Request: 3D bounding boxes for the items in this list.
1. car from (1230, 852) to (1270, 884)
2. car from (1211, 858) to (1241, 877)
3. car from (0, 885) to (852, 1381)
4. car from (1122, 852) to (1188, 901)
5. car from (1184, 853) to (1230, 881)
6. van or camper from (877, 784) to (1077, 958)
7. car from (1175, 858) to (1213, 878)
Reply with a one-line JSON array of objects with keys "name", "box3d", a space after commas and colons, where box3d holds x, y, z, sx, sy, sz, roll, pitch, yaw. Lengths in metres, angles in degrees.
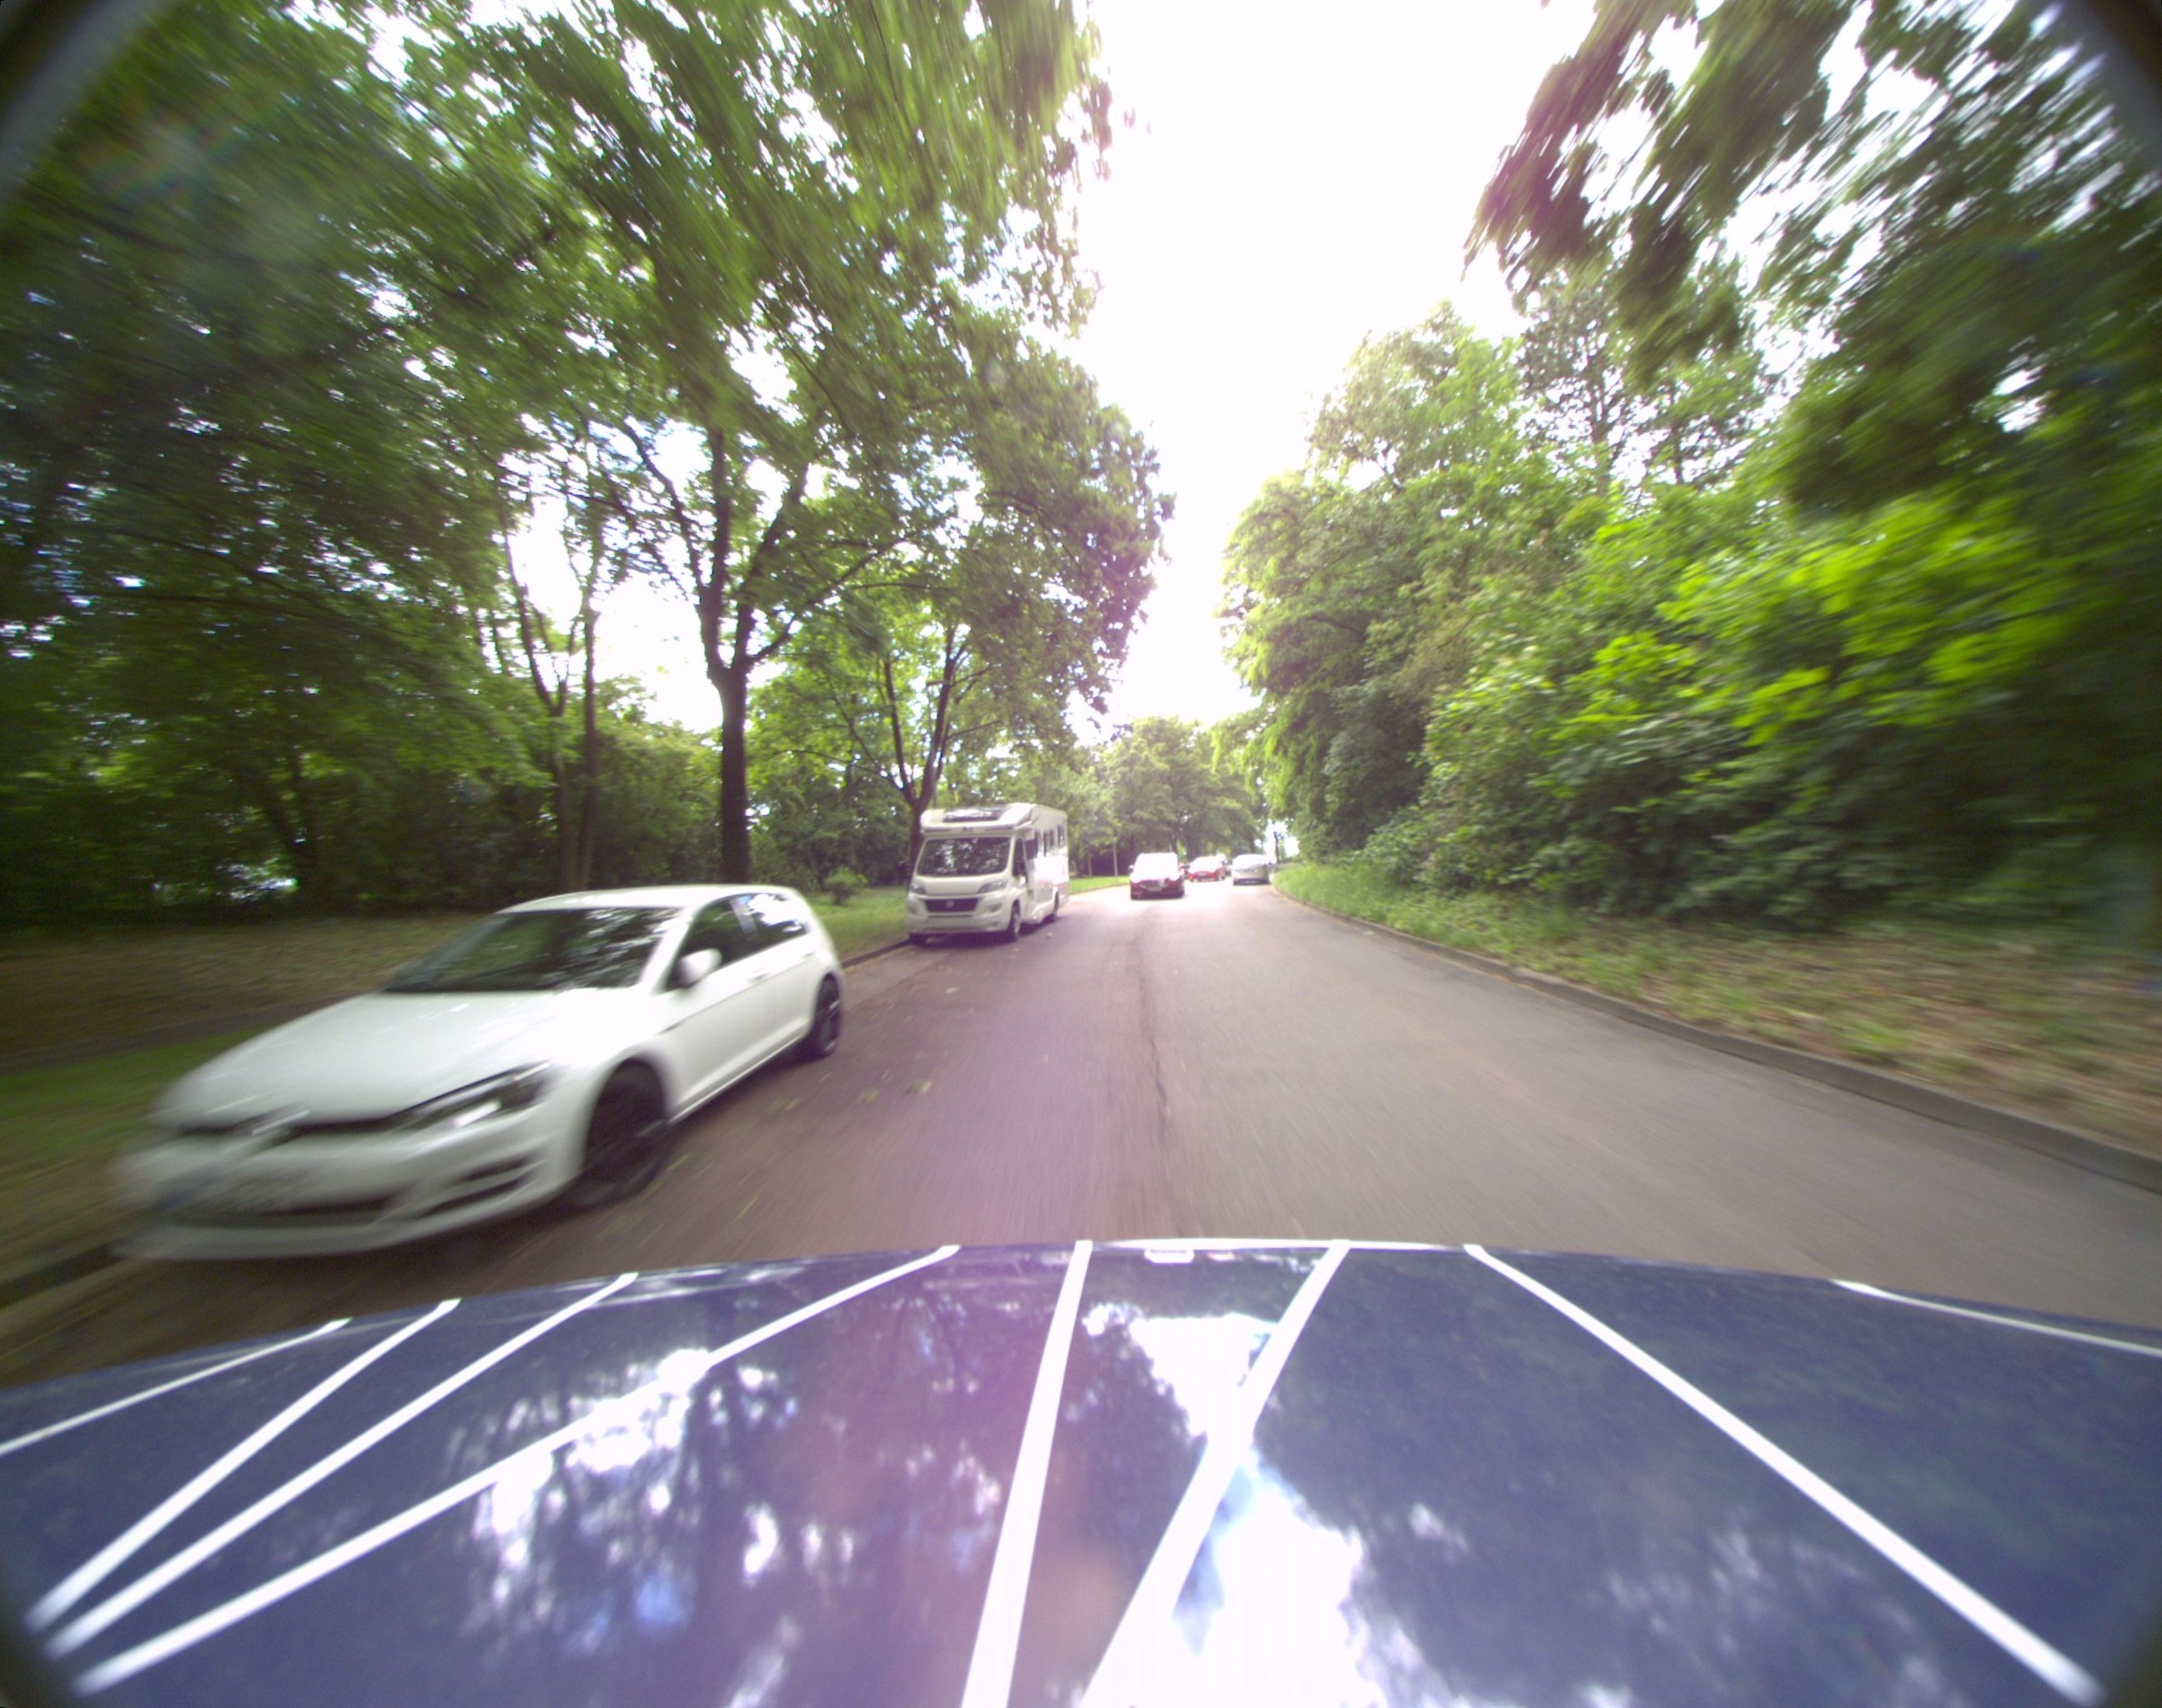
[{"name": "car", "box3d": [8.631, 0.703, 39.047, 1.797, 1.499, 4.003, -2, 0, 10]}, {"name": "car", "box3d": [12.932, 1.154, 67.550, 1.712, 1.413, 4.684, -3, 0, 22]}, {"name": "car", "box3d": [-2.949, 1.050, 4.669, 1.693, 1.474, 4.107, -3, 0, 1]}, {"name": "car", "box3d": [2.910, 0.791, 28.851, 2.002, 1.599, 4.681, -3, 0, 11]}, {"name": "car", "box3d": [7.726, 0.776, 46.218, 1.955, 1.464, 4.683, -3, 0, 18]}, {"name": "van or camper", "box3d": [-1.883, 0.316, 17.144, 2.429, 2.962, 7.397, -3, 0, 8]}, {"name": "car", "box3d": [8.682, 1.060, 58.107, 1.712, 1.248, 4.684, -3, 0, 22]}]
